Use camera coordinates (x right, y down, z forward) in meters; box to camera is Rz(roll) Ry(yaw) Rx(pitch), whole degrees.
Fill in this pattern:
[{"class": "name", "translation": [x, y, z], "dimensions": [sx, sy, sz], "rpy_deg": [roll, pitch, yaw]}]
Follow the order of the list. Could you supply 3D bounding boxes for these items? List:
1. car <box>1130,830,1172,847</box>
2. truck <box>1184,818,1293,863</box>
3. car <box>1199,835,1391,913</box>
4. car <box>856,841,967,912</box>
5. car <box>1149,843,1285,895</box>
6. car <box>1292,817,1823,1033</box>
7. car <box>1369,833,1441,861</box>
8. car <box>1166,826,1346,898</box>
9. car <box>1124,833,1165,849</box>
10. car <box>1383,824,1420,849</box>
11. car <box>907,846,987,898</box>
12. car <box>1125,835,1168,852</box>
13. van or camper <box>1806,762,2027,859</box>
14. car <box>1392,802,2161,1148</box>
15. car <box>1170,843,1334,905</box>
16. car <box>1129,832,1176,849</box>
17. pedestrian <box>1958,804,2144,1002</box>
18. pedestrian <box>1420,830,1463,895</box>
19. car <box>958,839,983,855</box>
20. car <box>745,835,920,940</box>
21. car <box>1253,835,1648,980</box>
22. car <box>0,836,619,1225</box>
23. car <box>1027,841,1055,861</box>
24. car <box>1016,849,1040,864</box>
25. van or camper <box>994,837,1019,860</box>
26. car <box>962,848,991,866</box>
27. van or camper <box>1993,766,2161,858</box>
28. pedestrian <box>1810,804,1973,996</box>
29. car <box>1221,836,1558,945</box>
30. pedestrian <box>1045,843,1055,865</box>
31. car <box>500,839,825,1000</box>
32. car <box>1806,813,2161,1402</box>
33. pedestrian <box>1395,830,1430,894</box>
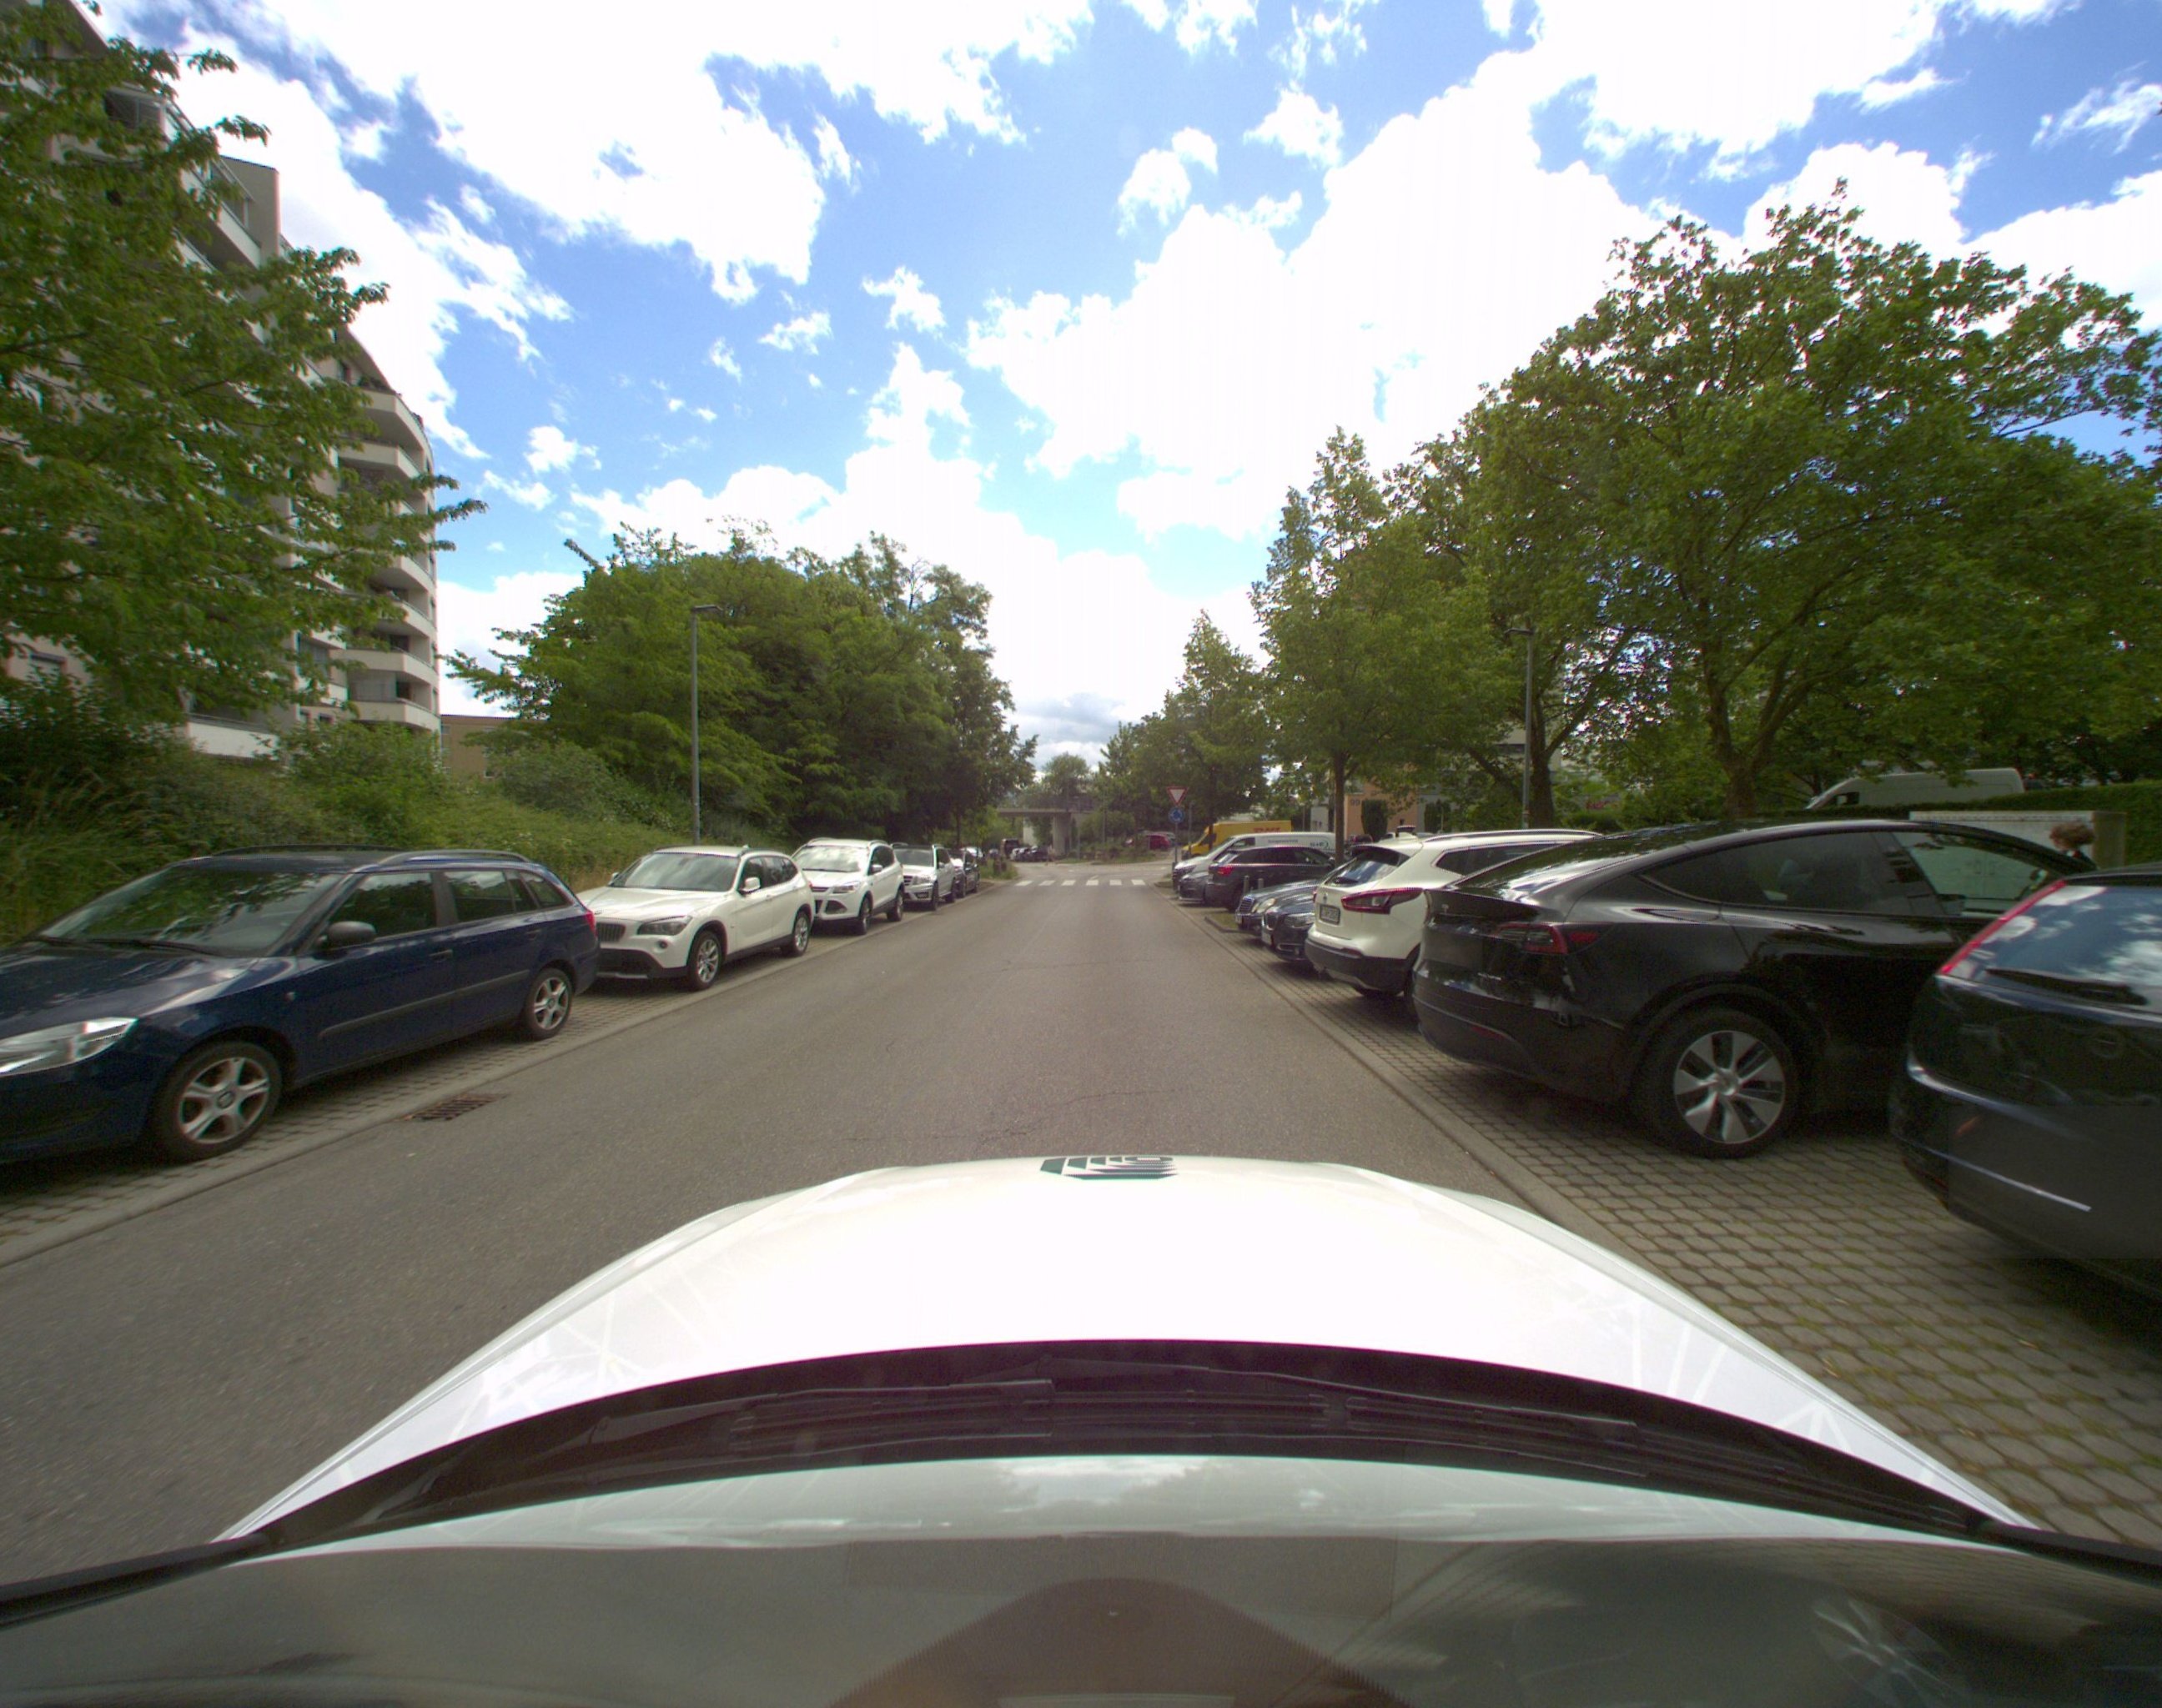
[{"class": "car", "translation": [6.702, -1.489, 78.045], "dimensions": [3.968, 1.613, 1.947], "rpy_deg": [0, 1, 4]}, {"class": "truck", "translation": [10.238, -0.908, 53.530], "dimensions": [6.770, 2.700, 2.479], "rpy_deg": [1, 5, 4]}, {"class": "car", "translation": [4.709, 0.418, 18.356], "dimensions": [3.812, 1.520, 1.911], "rpy_deg": [-2, 0, 0]}, {"class": "car", "translation": [-4.350, 0.495, 21.621], "dimensions": [1.792, 1.615, 4.481], "rpy_deg": [3, 1, 2]}, {"class": "car", "translation": [4.346, 0.444, 26.395], "dimensions": [4.136, 1.602, 1.739], "rpy_deg": [0, 1, 0]}, {"class": "car", "translation": [3.898, 0.544, 7.238], "dimensions": [3.654, 1.647, 1.854], "rpy_deg": [0, 1, 3]}, {"class": "car", "translation": [20.856, -0.443, 52.547], "dimensions": [3.975, 1.618, 1.726], "rpy_deg": [-2, 0, 7]}, {"class": "car", "translation": [4.994, 0.211, 23.644], "dimensions": [4.761, 1.831, 1.842], "rpy_deg": [-2, 0, -2]}, {"class": "car", "translation": [5.921, -1.189, 75.754], "dimensions": [3.630, 1.498, 1.688], "rpy_deg": [0, 1, 7]}, {"class": "car", "translation": [22.528, -1.243, 57.305], "dimensions": [1.559, 1.658, 3.787], "rpy_deg": [-2, 1, 9]}, {"class": "car", "translation": [-4.328, 0.534, 26.998], "dimensions": [1.683, 1.465, 4.459], "rpy_deg": [3, 1, 2]}, {"class": "car", "translation": [5.726, -0.908, 70.530], "dimensions": [3.630, 1.439, 1.688], "rpy_deg": [0, 1, 7]}, {"class": "van or camper", "translation": [25.907, -1.301, 25.524], "dimensions": [4.422, 2.798, 2.128], "rpy_deg": [1, 1, 32]}, {"class": "car", "translation": [3.856, 0.554, 4.564], "dimensions": [3.654, 1.574, 1.595], "rpy_deg": [0, 0, 3]}, {"class": "car", "translation": [4.309, 0.484, 20.960], "dimensions": [3.813, 1.371, 1.842], "rpy_deg": [-2, 0, -1]}, {"class": "car", "translation": [7.070, -1.352, 80.470], "dimensions": [4.522, 1.668, 1.947], "rpy_deg": [0, 1, 4]}, {"class": "pedestrian", "translation": [9.290, 0.436, 7.846], "dimensions": [0.736, 1.792, 0.879], "rpy_deg": [0, 1, 2]}, {"class": "pedestrian", "translation": [9.396, 0.210, 21.244], "dimensions": [0.866, 1.656, 0.593], "rpy_deg": [0, 1, 0]}, {"class": "car", "translation": [-10.209, -0.638, 75.096], "dimensions": [1.887, 1.460, 3.530], "rpy_deg": [0, 1, -14]}, {"class": "car", "translation": [-4.599, 0.519, 15.843], "dimensions": [1.800, 1.664, 4.439], "rpy_deg": [3, 1, 2]}, {"class": "car", "translation": [4.128, 0.553, 9.742], "dimensions": [3.964, 1.519, 1.888], "rpy_deg": [0, 0, 8]}, {"class": "car", "translation": [-5.054, 0.675, 5.252], "dimensions": [1.683, 1.487, 3.956], "rpy_deg": [3, 1, 3]}, {"class": "car", "translation": [-3.972, -0.252, 80.116], "dimensions": [1.817, 1.678, 4.345], "rpy_deg": [-1, -3, -16]}, {"class": "car", "translation": [-5.667, 0.297, 86.225], "dimensions": [1.702, 1.496, 4.097], "rpy_deg": [-1, 0, -15]}, {"class": "van or camper", "translation": [-8.959, -0.633, 97.126], "dimensions": [1.997, 2.523, 5.442], "rpy_deg": [-3, 0, -15]}, {"class": "car", "translation": [-9.123, 0.232, 70.823], "dimensions": [1.791, 1.468, 3.977], "rpy_deg": [0, 1, -17]}, {"class": "van or camper", "translation": [33.045, -1.307, 26.307], "dimensions": [4.422, 2.798, 2.128], "rpy_deg": [1, 1, 38]}, {"class": "pedestrian", "translation": [8.007, 0.425, 8.092], "dimensions": [0.736, 1.792, 0.879], "rpy_deg": [0, 1, 2]}, {"class": "car", "translation": [4.669, 0.520, 12.789], "dimensions": [4.564, 1.492, 1.950], "rpy_deg": [-1, 0, -3]}, {"class": "pedestrian", "translation": [-2.356, -0.007, 61.684], "dimensions": [0.655, 1.721, 0.740], "rpy_deg": [0, 1, 4]}, {"class": "car", "translation": [-4.816, 0.615, 10.185], "dimensions": [1.683, 1.511, 4.233], "rpy_deg": [3, 1, 2]}, {"class": "car", "translation": [4.591, 0.627, 2.251], "dimensions": [3.654, 1.498, 1.647], "rpy_deg": [0, 1, 3]}, {"class": "pedestrian", "translation": [8.647, 0.207, 21.258], "dimensions": [0.686, 1.656, 0.600], "rpy_deg": [0, 1, 0]}]
